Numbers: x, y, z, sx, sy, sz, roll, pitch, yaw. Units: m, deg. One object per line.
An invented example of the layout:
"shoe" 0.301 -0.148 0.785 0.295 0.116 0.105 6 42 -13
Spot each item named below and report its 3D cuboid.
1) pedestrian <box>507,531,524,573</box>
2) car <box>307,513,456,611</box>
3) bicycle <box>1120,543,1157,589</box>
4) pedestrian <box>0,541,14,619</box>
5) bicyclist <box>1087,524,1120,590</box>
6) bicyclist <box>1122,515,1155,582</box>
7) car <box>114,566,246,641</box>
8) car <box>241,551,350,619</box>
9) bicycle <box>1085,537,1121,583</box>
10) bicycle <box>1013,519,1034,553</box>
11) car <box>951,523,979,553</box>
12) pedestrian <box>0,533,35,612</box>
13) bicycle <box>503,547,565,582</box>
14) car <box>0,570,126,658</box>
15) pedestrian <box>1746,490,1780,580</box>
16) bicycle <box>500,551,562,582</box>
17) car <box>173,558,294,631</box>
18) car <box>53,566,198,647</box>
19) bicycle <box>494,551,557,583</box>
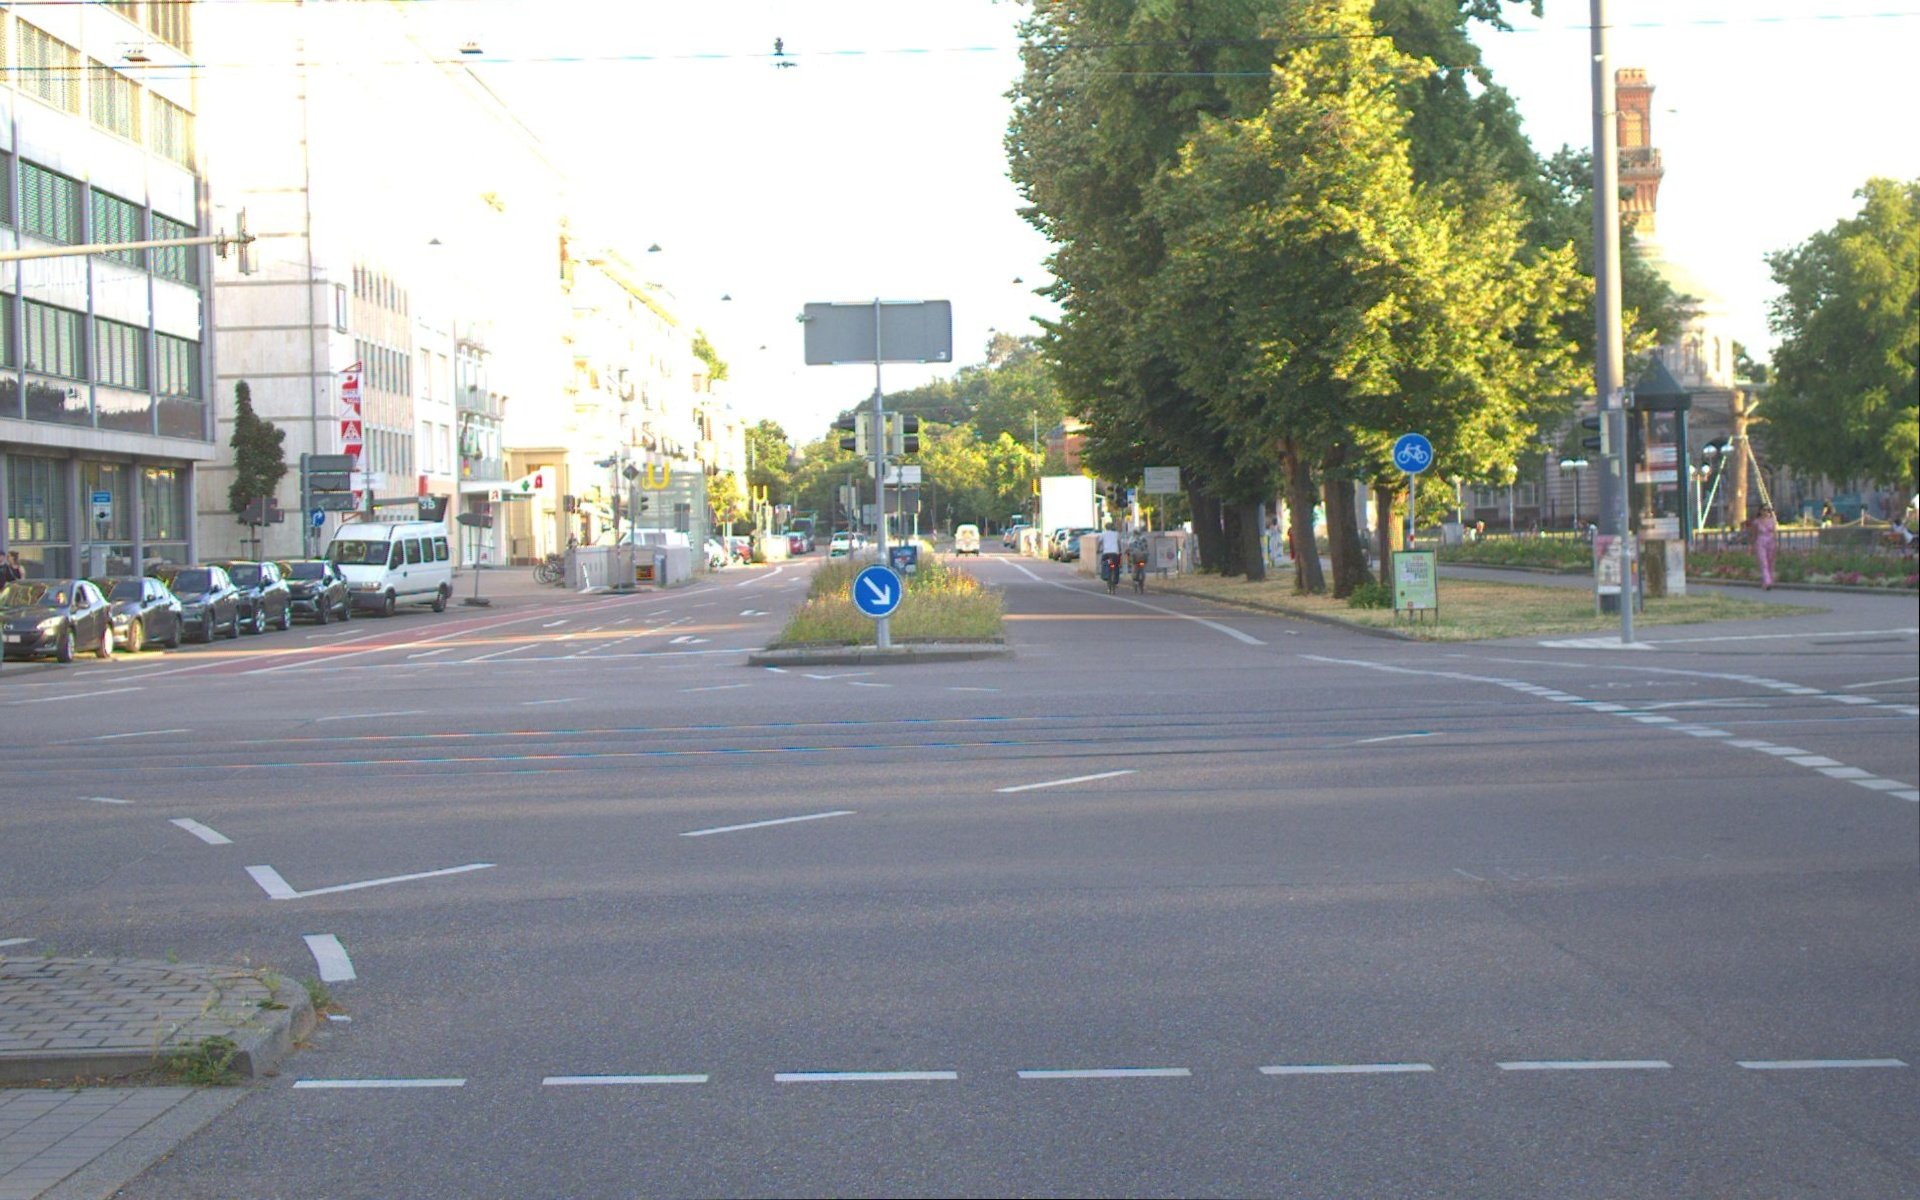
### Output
"pedestrian" -21.309 -2.292 164.784 0.680 2.007 0.545 -2 1 0
"car" -15.303 -1.049 91.237 2.002 2.469 5.865 -1 1 10
"bicycle" 4.551 -0.871 87.733 0.746 1.140 2.505 -2 1 -1
"pedestrian" -20.696 -0.436 74.004 0.500 1.673 0.500 -2 1 -1
"bicyclist" 3.651 -1.094 87.371 0.746 1.658 0.873 -2 1 -1
"bicyclist" 4.538 -1.304 87.595 0.746 1.685 0.799 -2 1 -1
"car" -16.582 0.057 73.259 1.920 1.459 4.000 -2 1 -1
"car" -16.362 -0.379 84.787 1.920 1.563 4.000 -2 1 -1
"bicycle" 3.646 -1.028 87.629 0.746 1.140 2.505 -2 1 -1
"bicycle" 3.841 -3.886 208.130 1.002 2.007 4.000 -1 1 4
"car" 0.285 -3.488 194.288 1.408 1.636 4.000 -2 1 -2
"pedestrian" -20.097 -0.583 73.296 0.551 1.673 0.500 -2 1 -1
"bicycle" -15.959 -1.325 128.890 2.205 1.232 0.839 -2 1 -2
"car" -16.488 0.236 61.948 1.920 1.459 4.103 -2 1 -1
"pedestrian" 14.898 -1.215 63.803 0.460 1.651 0.567 -1 1 -1
"bicycle" -15.829 -1.243 126.950 2.205 1.108 0.689 -2 1 -2
"car" -16.560 -0.146 78.560 1.920 1.563 4.000 -2 1 -1
"car" -16.577 0.106 68.444 1.920 1.459 4.000 -2 1 -1
"bicycle" -15.844 -1.214 125.444 2.205 1.108 0.619 -2 1 -2
